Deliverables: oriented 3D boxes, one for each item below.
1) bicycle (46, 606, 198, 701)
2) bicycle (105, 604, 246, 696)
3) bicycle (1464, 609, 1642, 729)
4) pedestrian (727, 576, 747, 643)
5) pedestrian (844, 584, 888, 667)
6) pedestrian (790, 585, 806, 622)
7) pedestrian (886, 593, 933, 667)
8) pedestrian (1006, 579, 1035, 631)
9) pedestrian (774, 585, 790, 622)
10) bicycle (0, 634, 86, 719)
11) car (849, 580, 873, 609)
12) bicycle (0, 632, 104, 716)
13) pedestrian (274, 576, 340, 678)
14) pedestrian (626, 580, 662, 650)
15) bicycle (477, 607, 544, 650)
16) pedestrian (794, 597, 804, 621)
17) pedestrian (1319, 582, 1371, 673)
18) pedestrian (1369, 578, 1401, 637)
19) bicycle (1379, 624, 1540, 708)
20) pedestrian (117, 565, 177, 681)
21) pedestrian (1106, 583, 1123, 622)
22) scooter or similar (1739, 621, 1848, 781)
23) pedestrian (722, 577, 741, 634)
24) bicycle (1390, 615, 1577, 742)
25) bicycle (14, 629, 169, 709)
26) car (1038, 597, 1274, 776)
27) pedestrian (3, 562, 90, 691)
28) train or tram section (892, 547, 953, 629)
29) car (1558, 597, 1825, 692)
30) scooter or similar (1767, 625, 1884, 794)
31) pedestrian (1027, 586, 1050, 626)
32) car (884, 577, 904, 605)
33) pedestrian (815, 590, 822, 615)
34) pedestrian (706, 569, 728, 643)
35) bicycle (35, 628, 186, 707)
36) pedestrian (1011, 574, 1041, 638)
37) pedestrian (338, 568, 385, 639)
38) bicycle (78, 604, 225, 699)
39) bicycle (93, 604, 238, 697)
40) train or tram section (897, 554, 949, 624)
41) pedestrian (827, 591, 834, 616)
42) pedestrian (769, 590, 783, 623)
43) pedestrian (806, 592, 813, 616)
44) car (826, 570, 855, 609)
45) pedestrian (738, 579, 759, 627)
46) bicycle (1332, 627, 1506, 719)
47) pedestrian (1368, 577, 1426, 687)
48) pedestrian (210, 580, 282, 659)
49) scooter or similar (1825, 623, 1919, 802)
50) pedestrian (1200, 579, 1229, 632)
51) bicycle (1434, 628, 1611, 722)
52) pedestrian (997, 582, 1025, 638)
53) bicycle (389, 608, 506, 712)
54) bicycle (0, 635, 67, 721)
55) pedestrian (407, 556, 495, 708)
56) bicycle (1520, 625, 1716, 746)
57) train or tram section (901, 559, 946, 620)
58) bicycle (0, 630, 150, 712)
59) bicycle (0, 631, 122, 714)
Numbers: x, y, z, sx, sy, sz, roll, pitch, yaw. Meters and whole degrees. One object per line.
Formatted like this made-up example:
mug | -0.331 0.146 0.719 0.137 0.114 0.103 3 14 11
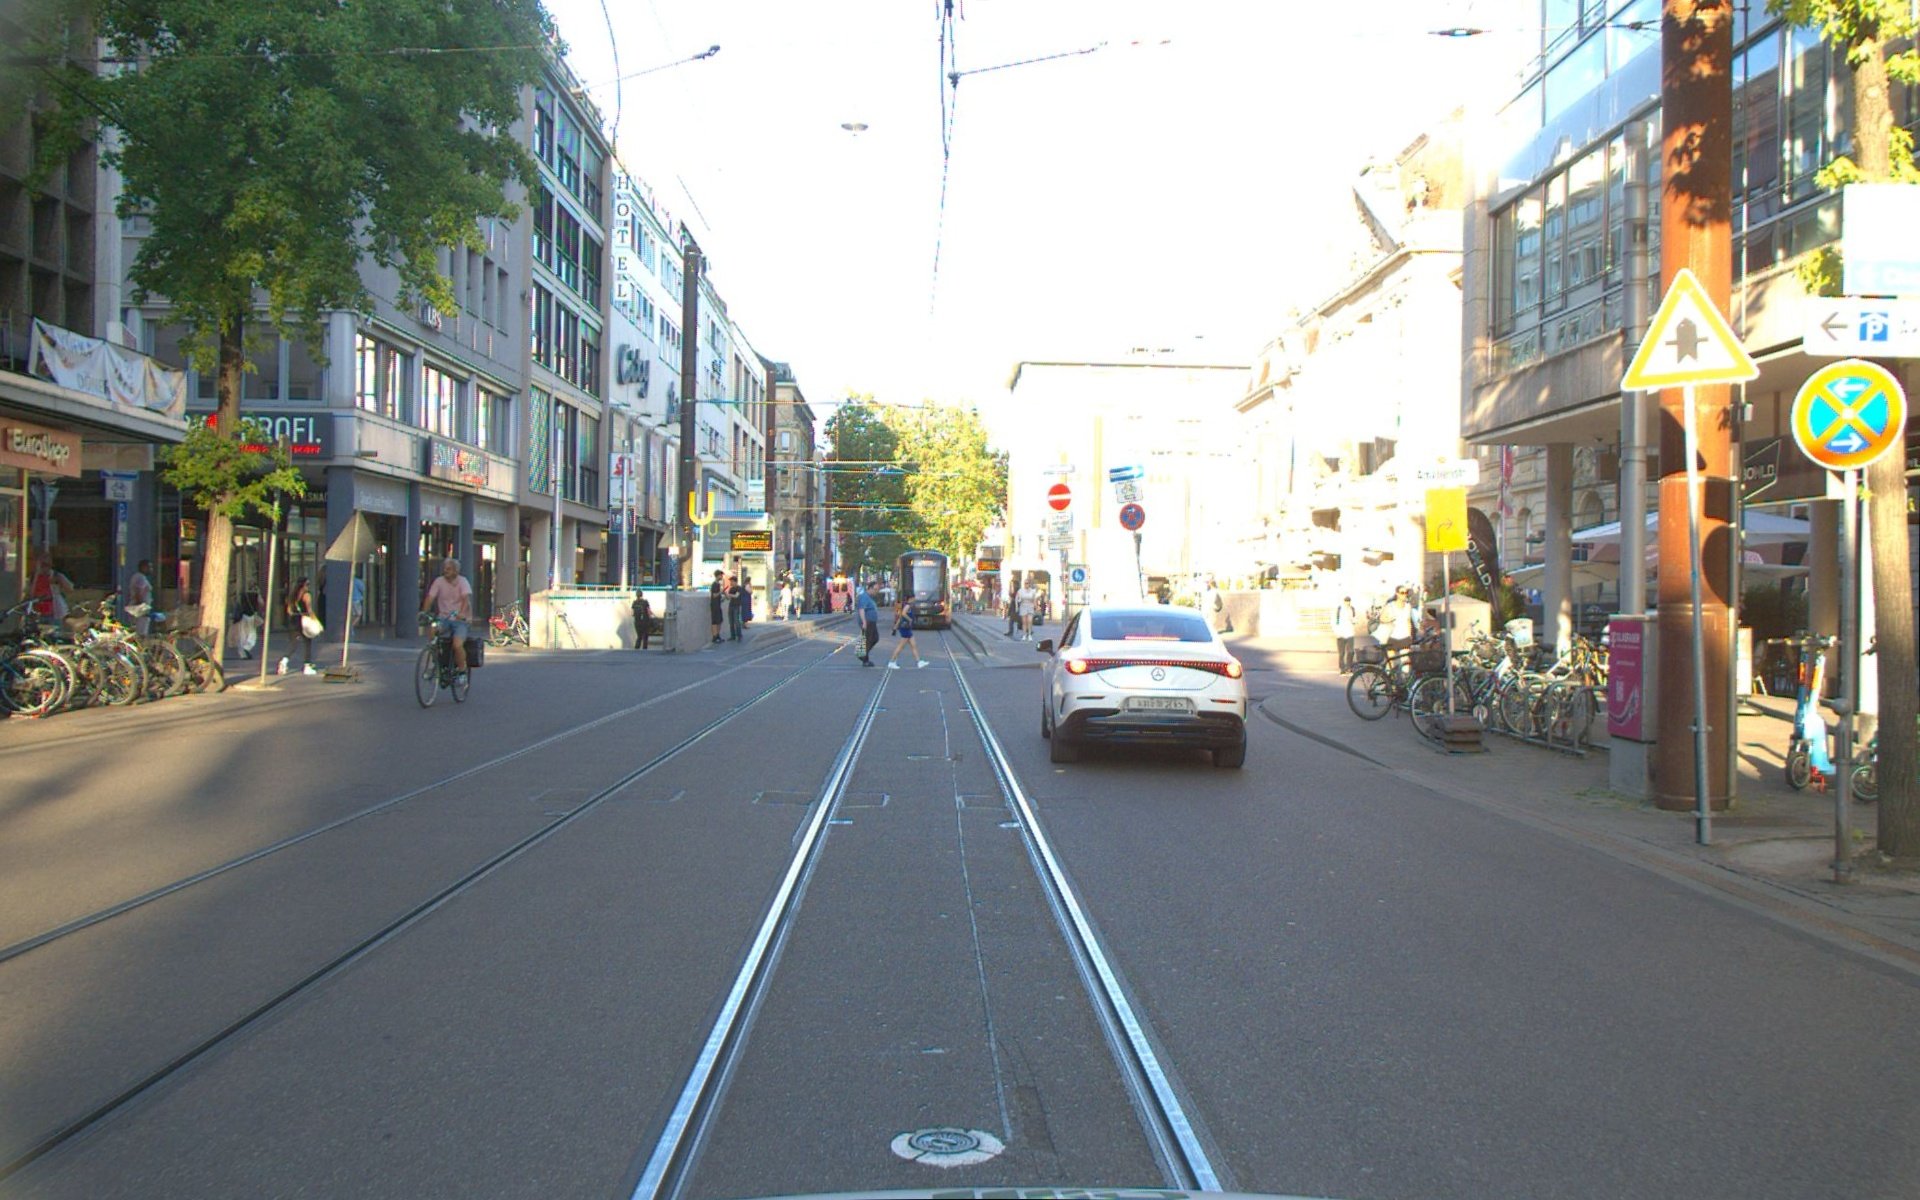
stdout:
bicycle | -9.537 0.607 18.850 1.466 1.027 0.344 2 0 -12
bicycle | -9.487 0.606 20.037 1.466 1.047 0.344 2 0 -12
bicycle | 6.784 0.770 18.937 1.875 1.303 0.608 -1 0 -13
pedestrian | -6.034 0.255 44.737 0.509 1.791 0.550 1 0 -7
pedestrian | -1.985 0.525 35.061 0.886 1.728 0.848 1 0 -1
pedestrian | -7.134 0.160 72.791 0.647 1.627 0.573 1 0 -3
pedestrian | -1.057 0.623 34.752 0.936 1.522 0.944 1 0 -1
pedestrian | 2.140 0.172 58.643 0.941 1.816 0.803 -1 0 -2
pedestrian | -7.819 0.146 72.696 0.647 1.627 0.573 1 0 -3
bicycle | -9.530 0.742 16.440 1.462 0.797 0.344 2 0 0
car | -8.816 -0.523 147.439 1.871 2.504 5.274 1 0 -1
bicycle | -9.532 0.742 16.799 1.462 0.797 0.344 2 0 0
pedestrian | -10.815 0.443 27.418 0.734 1.651 0.980 1 0 -4
pedestrian | -7.971 0.364 41.716 0.767 1.747 0.840 1 0 -4
bicycle | -10.981 0.683 40.449 0.703 1.027 2.041 1 0 12
pedestrian | -11.528 0.638 118.336 0.594 1.658 0.413 1 0 -17
pedestrian | 7.857 0.557 33.787 0.824 1.816 0.803 -1 0 -2
pedestrian | 13.429 0.228 52.250 0.708 1.816 1.005 -1 0 -2
bicycle | 6.810 0.886 22.549 2.077 1.115 0.608 0 0 -13
pedestrian | -12.895 0.356 26.227 0.718 1.792 0.808 1 0 -36
pedestrian | 7.291 0.136 78.189 0.712 1.817 0.707 1 0 -2
scooter or similar | 7.064 0.837 14.034 0.518 1.299 0.658 -1 0 -12
pedestrian | -6.722 0.158 48.631 0.521 1.641 0.540 1 0 -7
bicycle | 5.696 0.831 18.013 1.875 1.303 0.608 -1 0 -13
bicycle | -9.393 0.743 17.895 1.462 0.797 0.344 2 0 0
car | 1.788 0.740 16.331 1.819 1.481 4.175 2 0 0
pedestrian | -12.967 0.369 23.499 0.799 1.792 0.779 1 0 -4
train or tram section | -1.772 -0.540 78.369 2.640 3.578 12.542 1 0 -1
car | 12.038 0.722 27.342 3.728 1.499 1.647 1 0 -7
scooter or similar | 6.959 0.859 13.319 0.518 1.299 0.658 -1 0 -12
pedestrian | 3.570 0.277 75.092 0.941 1.816 0.803 -1 0 -2
car | -7.134 -1.006 179.533 2.056 2.948 5.274 1 0 -1
pedestrian | -9.537 0.178 111.645 0.405 1.658 0.606 1 0 -1
pedestrian | -6.527 0.168 44.435 0.560 1.963 0.540 1 0 -7
bicycle | -9.369 0.745 18.256 1.462 0.797 0.344 2 0 0
pedestrian | 1.818 0.162 45.615 0.731 1.728 0.840 1 0 -4
pedestrian | -14.896 0.083 41.181 0.806 1.736 0.980 1 0 -3
bicycle | -9.416 0.604 19.292 1.466 1.047 0.344 2 0 -12
bicycle | -9.434 0.604 19.666 1.466 1.047 0.344 2 0 -12
train or tram section | -2.029 -0.589 90.917 2.640 3.578 12.542 1 0 -1
pedestrian | -8.451 0.236 107.755 0.405 1.658 0.606 1 0 -1
pedestrian | -9.329 0.333 83.905 0.647 1.627 0.573 1 0 -3
pedestrian | -10.606 0.271 116.756 0.405 1.658 0.606 1 0 -1
car | -9.277 -0.839 128.640 1.953 2.948 5.274 1 0 -1
pedestrian | -6.888 0.093 53.839 0.603 1.572 0.650 1 0 -4
bicycle | 5.821 0.923 20.992 2.077 1.115 0.608 1 -1 -13
pedestrian | 7.327 0.527 27.738 0.733 1.816 0.766 -1 0 -2
pedestrian | -14.717 0.385 34.093 0.961 1.589 1.010 1 0 38
scooter or similar | 7.049 0.837 12.605 0.483 1.299 0.658 -1 0 -12
pedestrian | 8.411 0.188 54.719 0.801 1.714 0.803 -1 0 -2
bicycle | 6.926 0.908 20.353 2.078 1.115 0.607 0 0 -14
pedestrian | 1.553 0.297 50.115 0.820 1.691 0.785 1 0 1
bicycle | -6.309 0.711 20.488 0.784 1.162 2.256 2 0 -3
bicycle | -9.525 0.742 16.085 1.462 0.797 0.344 2 0 0
pedestrian | -6.300 0.389 20.507 0.784 1.813 0.848 2 0 -3
bicycle | 6.849 0.874 17.225 1.875 1.177 0.608 -1 0 -13
train or tram section | -2.278 -0.631 102.752 2.640 3.578 11.140 1 0 -1
bicycle | -9.418 0.749 17.525 1.462 0.797 0.344 2 0 0
bicycle | -9.530 0.743 17.160 1.462 0.797 0.344 2 0 0
